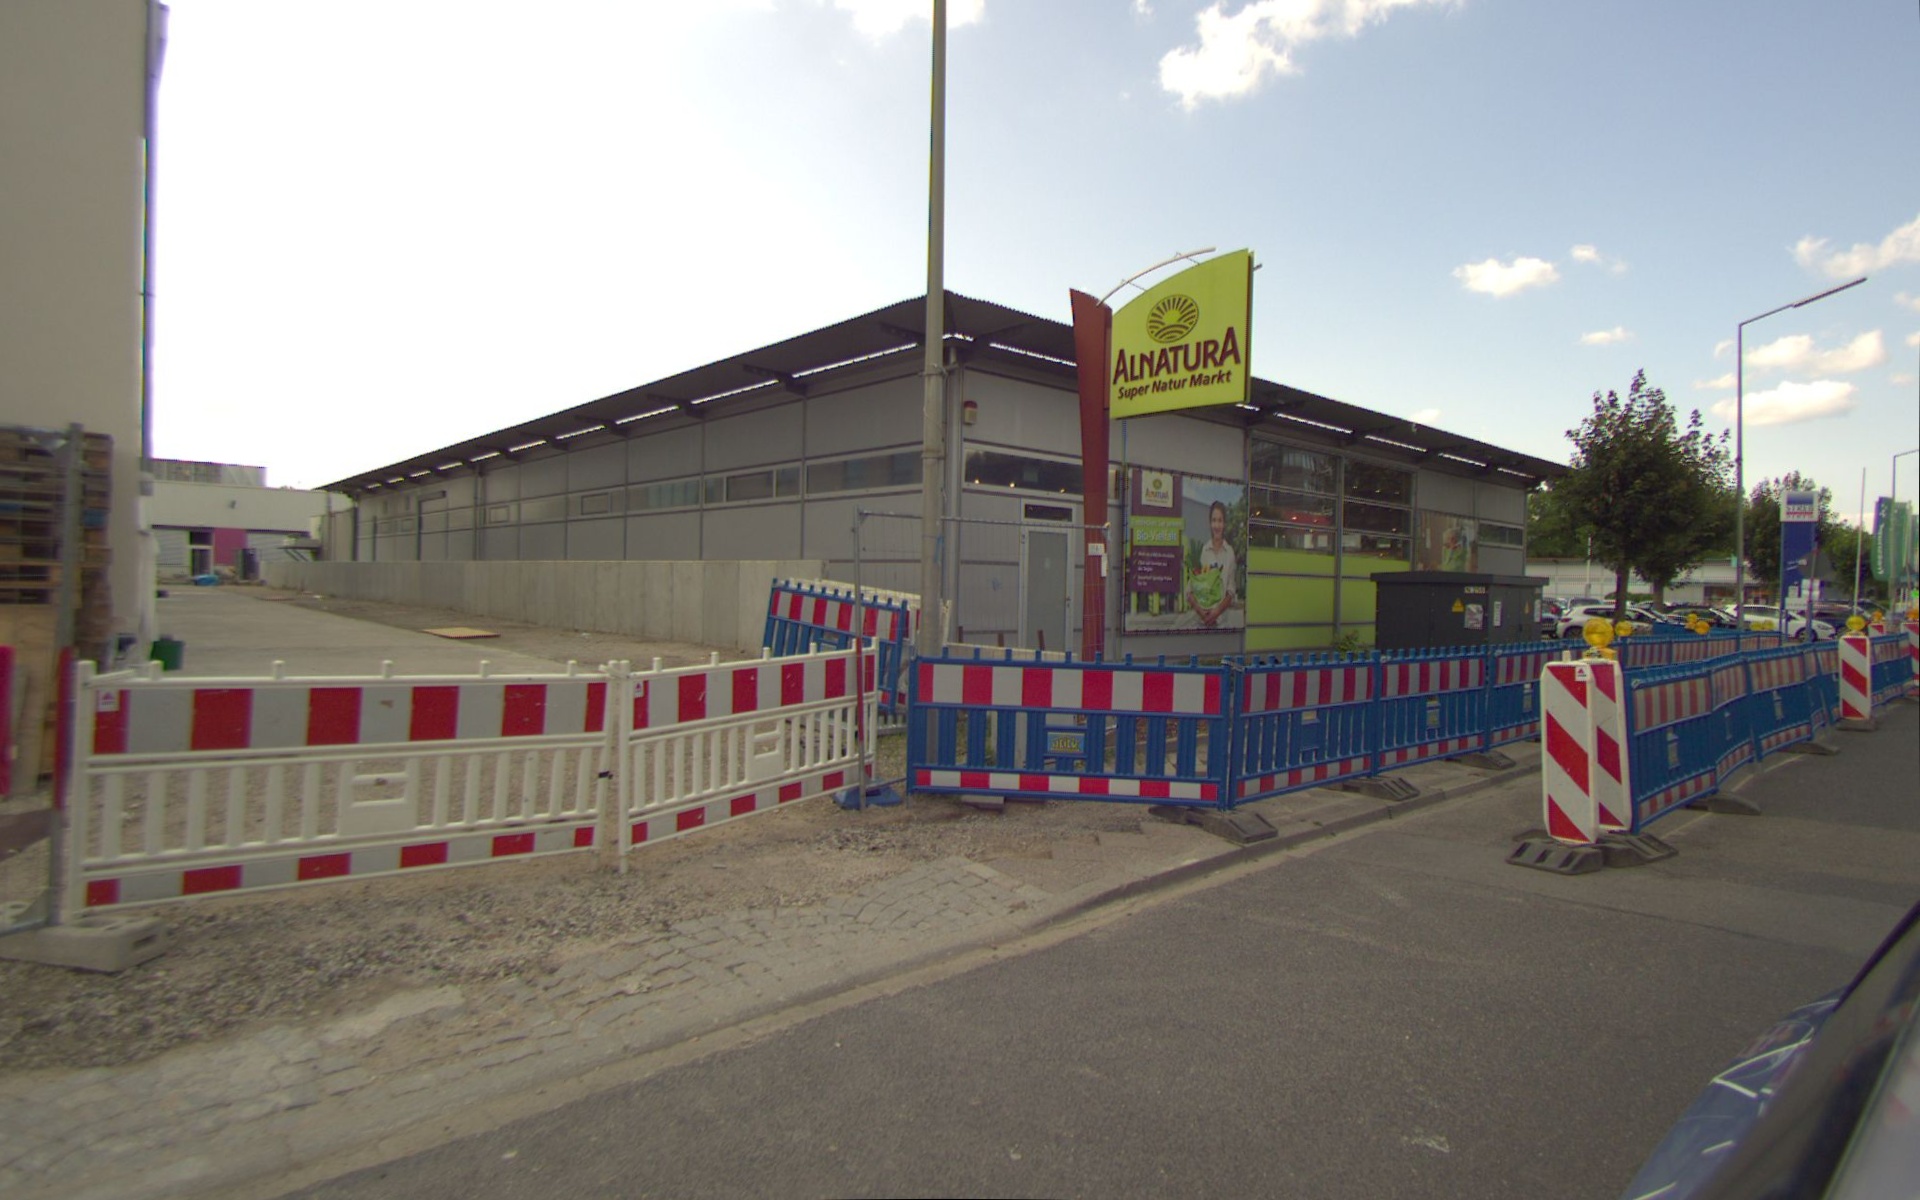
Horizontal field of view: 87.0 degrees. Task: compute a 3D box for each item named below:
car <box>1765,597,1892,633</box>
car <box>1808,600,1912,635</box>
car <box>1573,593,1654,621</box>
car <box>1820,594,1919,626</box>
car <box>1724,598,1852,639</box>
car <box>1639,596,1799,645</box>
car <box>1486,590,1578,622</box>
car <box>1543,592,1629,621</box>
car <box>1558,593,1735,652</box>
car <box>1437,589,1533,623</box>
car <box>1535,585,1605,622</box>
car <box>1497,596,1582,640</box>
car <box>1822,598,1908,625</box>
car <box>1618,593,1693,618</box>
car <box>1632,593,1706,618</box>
[{"bbox_3d":[40.730,0.671,47.529,1.815,1.461,4.314,1,2,-43],"label":"car"},{"bbox_3d":[46.376,0.866,52.195,3.885,1.541,1.721,3,2,44],"label":"car"},{"bbox_3d":[40.465,0.423,62.714,1.696,1.502,3.940,1,2,-44],"label":"car"},{"bbox_3d":[58.388,0.595,64.706,1.870,1.810,4.902,1,2,-42],"label":"car"},{"bbox_3d":[34.796,0.737,42.608,1.767,1.428,3.956,1,3,-44],"label":"car"},{"bbox_3d":[26.681,0.681,35.673,1.774,1.448,4.190,1,2,-40],"label":"car"},{"bbox_3d":[31.080,0.304,55.080,1.696,1.502,3.999,1,2,-44],"label":"car"},{"bbox_3d":[36.675,0.380,59.324,1.712,1.502,3.986,1,2,-44],"label":"car"},{"bbox_3d":[20.872,0.630,30.889,1.956,1.481,4.110,0,2,-42],"label":"car"},{"bbox_3d":[26.921,0.284,51.978,1.696,1.502,4.063,1,2,-44],"label":"car"},{"bbox_3d":[26.539,0.150,43.978,3.691,1.538,1.720,0,1,-44],"label":"car"},{"bbox_3d":[21.289,0.614,37.355,1.663,1.428,4.367,0,2,16],"label":"car"},{"bbox_3d":[56.455,0.696,63.169,1.624,1.517,3.820,1,2,-40],"label":"car"},{"bbox_3d":[47.519,0.376,69.160,1.696,1.502,3.940,1,2,-44],"label":"car"},{"bbox_3d":[49.338,0.372,70.434,1.696,1.502,3.940,1,2,-44],"label":"car"}]
